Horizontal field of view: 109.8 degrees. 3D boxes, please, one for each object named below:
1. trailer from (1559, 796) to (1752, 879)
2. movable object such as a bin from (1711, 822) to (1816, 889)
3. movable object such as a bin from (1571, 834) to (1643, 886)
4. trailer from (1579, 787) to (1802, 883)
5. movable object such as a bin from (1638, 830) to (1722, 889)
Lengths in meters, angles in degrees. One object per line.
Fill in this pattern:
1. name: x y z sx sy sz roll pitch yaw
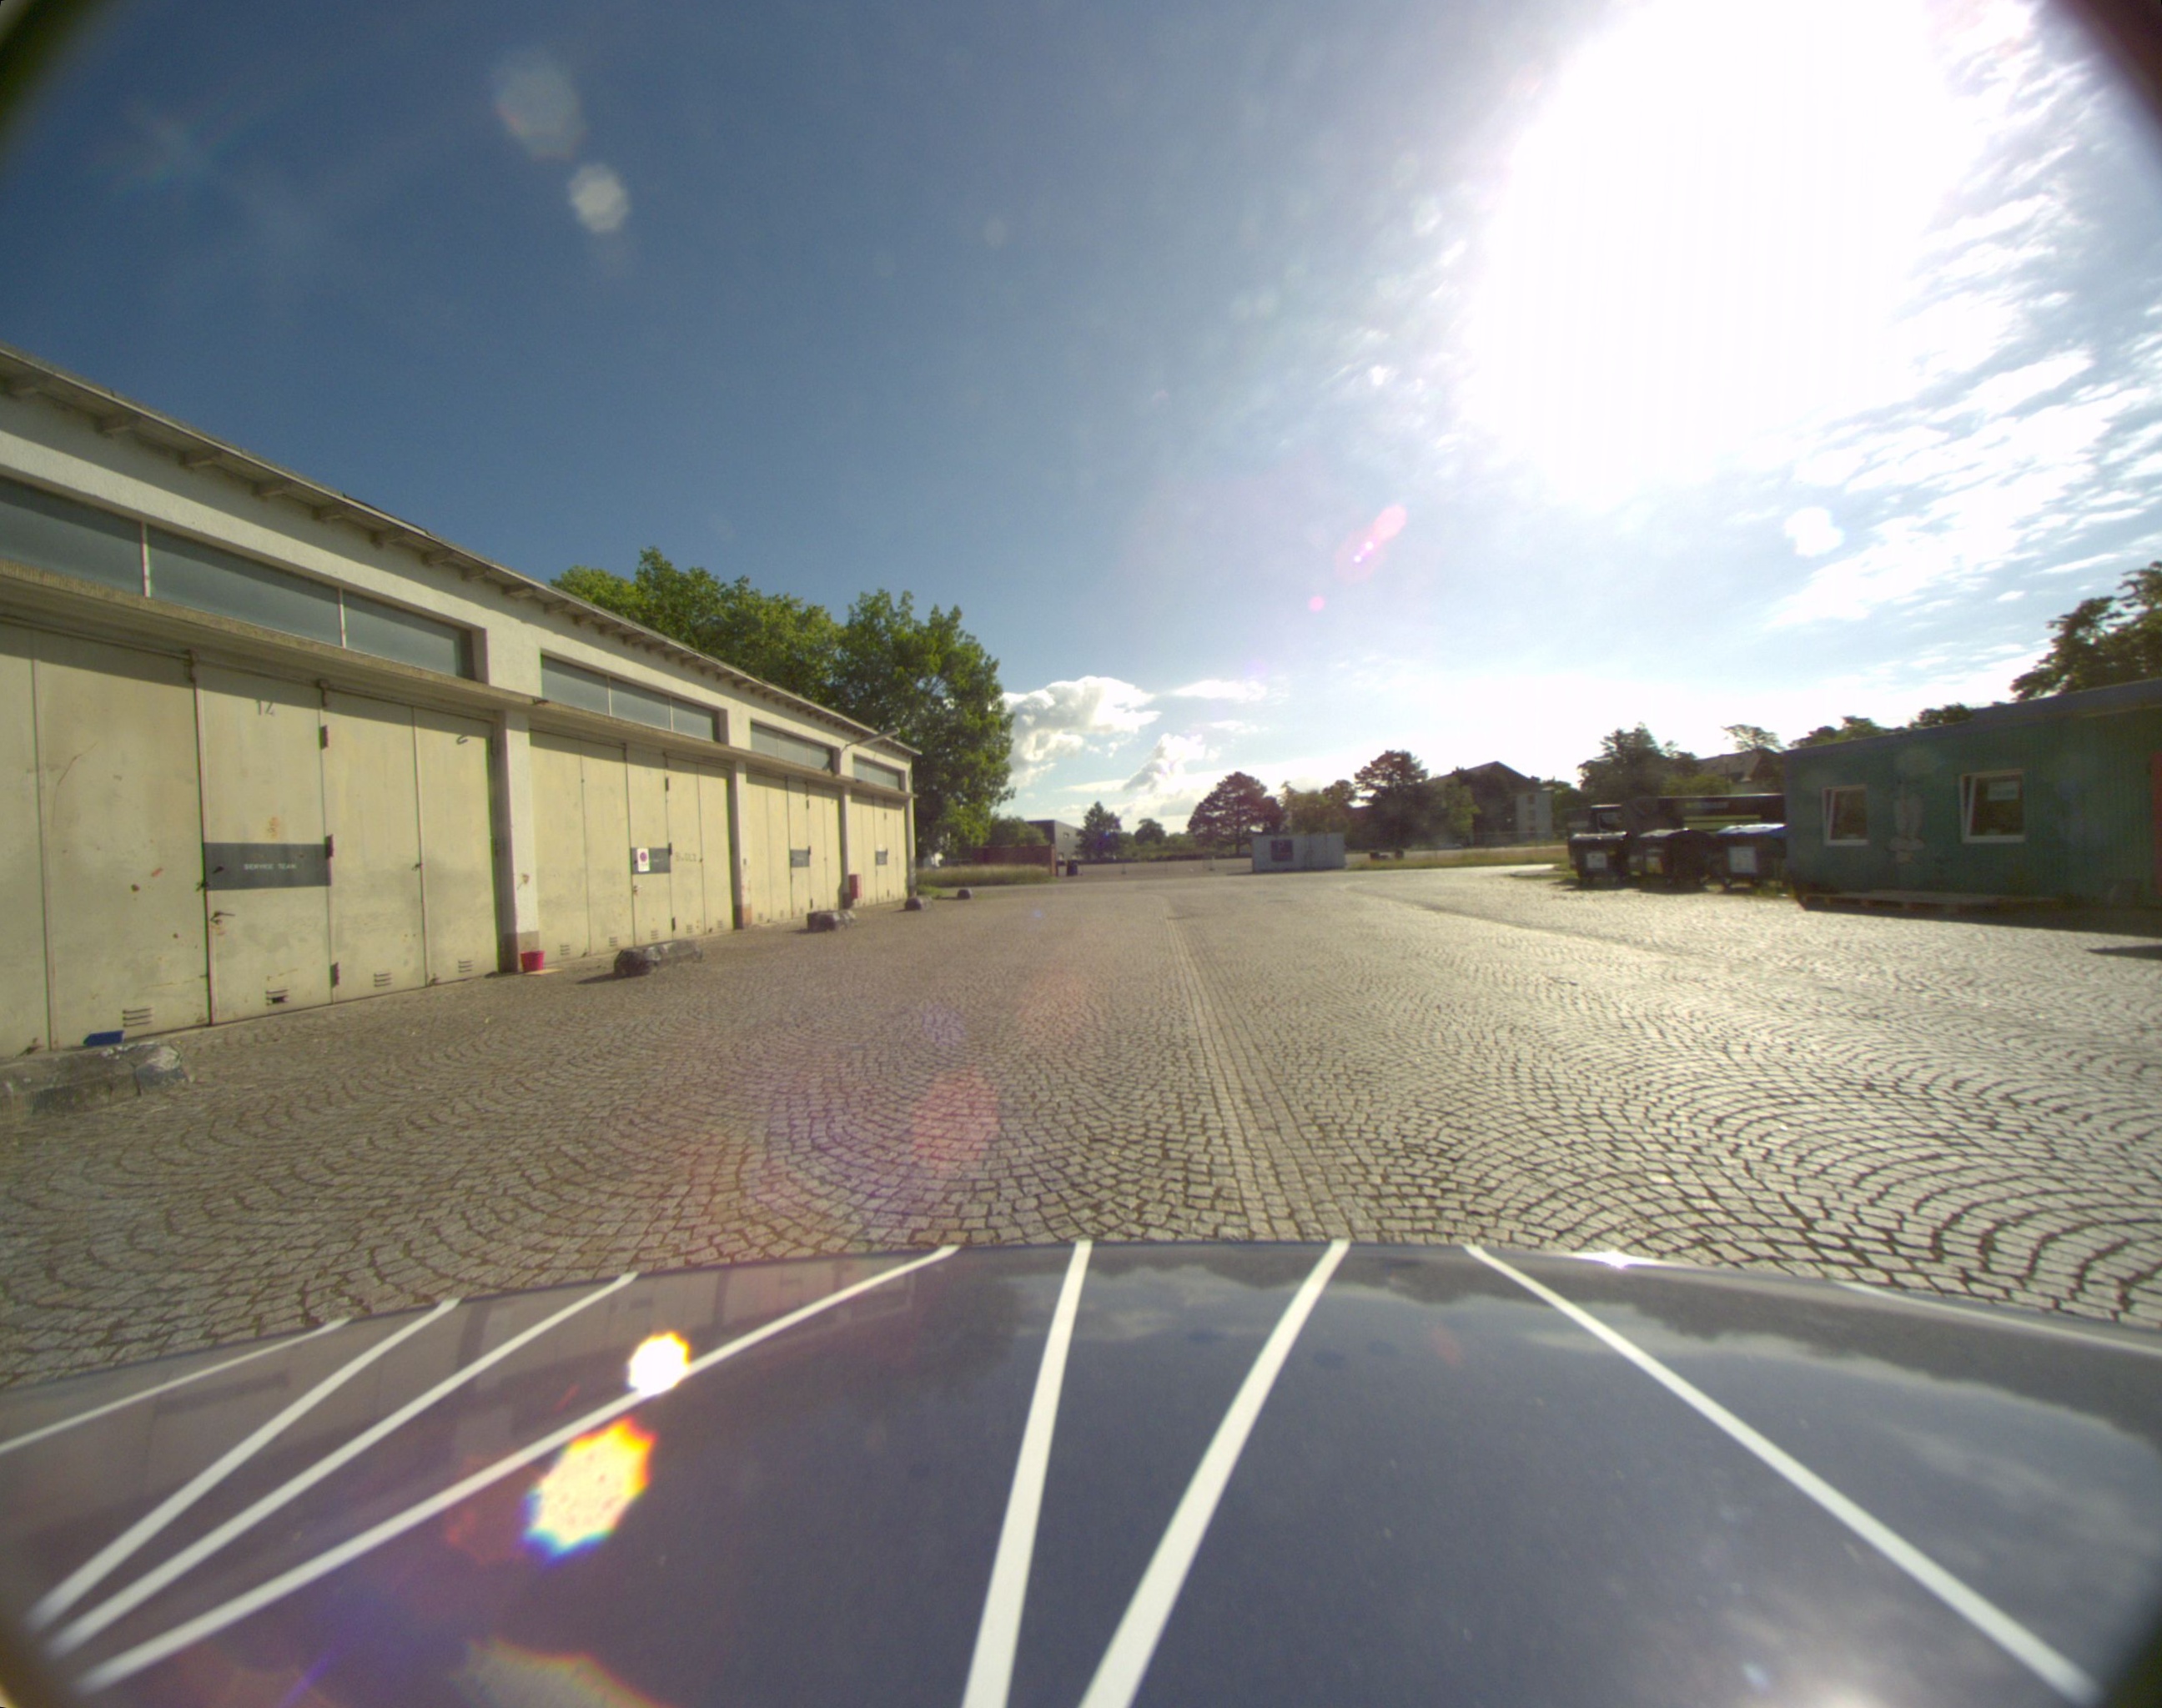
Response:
1. trailer: 18.334 -0.501 24.444 4.463 2.260 2.014 -4 1 5
2. movable object such as a bin: 15.658 0.034 17.485 1.088 1.428 1.408 -3 1 -7
3. movable object such as a bin: 14.666 0.172 21.191 1.049 1.377 1.361 -3 1 -37
4. trailer: 17.612 -0.532 22.121 4.852 2.377 1.943 -4 1 0
5. movable object such as a bin: 14.973 0.131 19.031 1.082 1.377 1.370 -3 1 9
